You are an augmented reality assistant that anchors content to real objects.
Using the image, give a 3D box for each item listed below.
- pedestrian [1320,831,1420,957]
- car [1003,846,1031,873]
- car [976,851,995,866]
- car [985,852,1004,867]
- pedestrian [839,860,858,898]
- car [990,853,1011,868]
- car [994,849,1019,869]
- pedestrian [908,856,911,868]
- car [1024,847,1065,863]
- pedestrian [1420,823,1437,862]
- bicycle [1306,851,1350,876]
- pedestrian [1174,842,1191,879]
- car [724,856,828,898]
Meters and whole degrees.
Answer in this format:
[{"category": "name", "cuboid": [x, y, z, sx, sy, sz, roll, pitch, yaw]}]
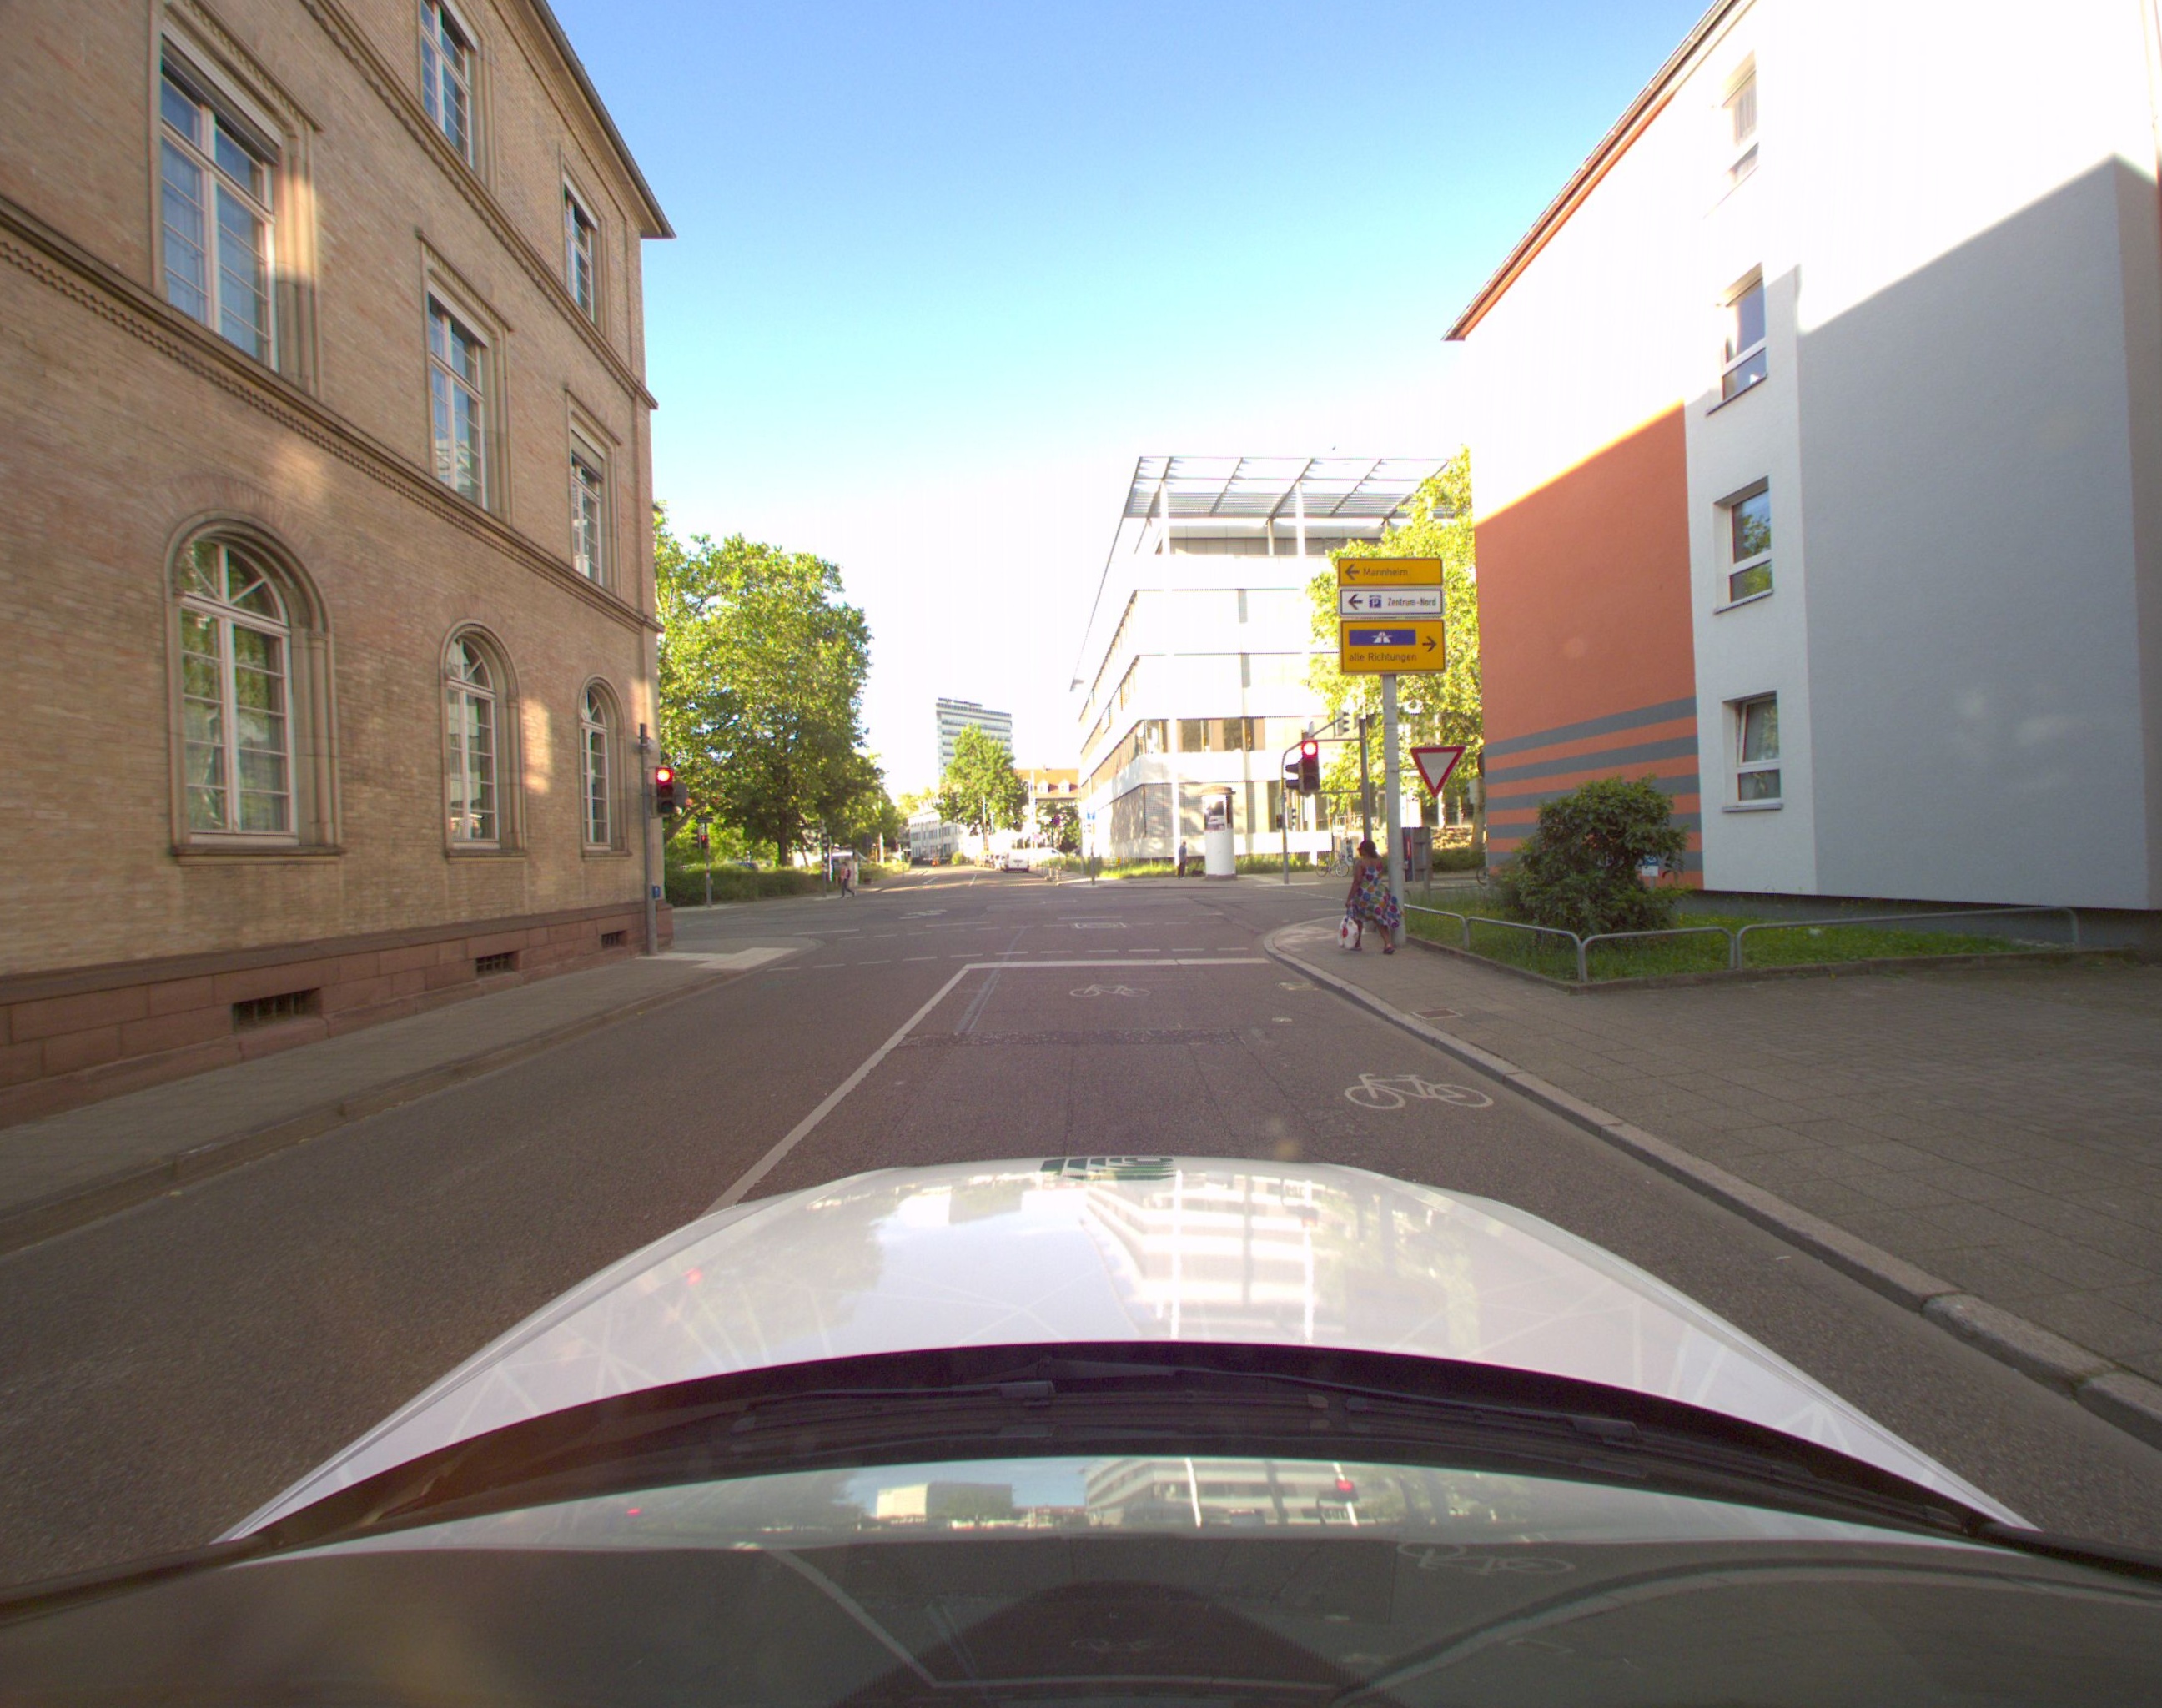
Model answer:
[{"category": "pedestrian", "cuboid": [3.936, 0.528, 11.144, 0.952, 1.573, 0.750, -5, 0, -3]}, {"category": "car", "cuboid": [-5.123, 0.412, 64.943, 2.065, 1.963, 4.228, -2, 0, -7]}, {"category": "car", "cuboid": [-11.302, 0.508, 96.132, 2.100, 1.658, 4.461, -2, 0, -9]}, {"category": "car", "cuboid": [-9.194, 0.537, 86.251, 1.704, 1.464, 4.225, -2, 0, -9]}, {"category": "pedestrian", "cuboid": [-10.165, 1.079, 35.592, 0.714, 1.599, 0.613, -2, 0, -20]}, {"category": "car", "cuboid": [-8.086, 0.626, 81.667, 1.705, 1.424, 4.221, -2, 0, -11]}, {"category": "car", "cuboid": [-7.075, 0.490, 76.820, 1.947, 1.795, 4.223, -2, 0, -11]}, {"category": "pedestrian", "cuboid": [-21.572, 0.964, 102.478, 0.380, 1.534, 0.444, -2, 0, -10]}, {"category": "car", "cuboid": [-4.677, 0.097, 103.131, 4.889, 1.872, 1.990, -1, -1, -15]}, {"category": "pedestrian", "cuboid": [16.520, -0.536, 38.737, 0.533, 1.831, 1.045, -2, 0, 15]}, {"category": "bicycle", "cuboid": [10.909, 0.434, 36.004, 0.467, 1.049, 1.893, -2, 0, -40]}, {"category": "pedestrian", "cuboid": [4.847, 0.300, 38.742, 0.648, 1.736, 0.815, -2, 0, 13]}, {"category": "car", "cuboid": [-14.394, 1.069, 38.646, 4.219, 1.777, 1.901, -2, 0, -7]}]
